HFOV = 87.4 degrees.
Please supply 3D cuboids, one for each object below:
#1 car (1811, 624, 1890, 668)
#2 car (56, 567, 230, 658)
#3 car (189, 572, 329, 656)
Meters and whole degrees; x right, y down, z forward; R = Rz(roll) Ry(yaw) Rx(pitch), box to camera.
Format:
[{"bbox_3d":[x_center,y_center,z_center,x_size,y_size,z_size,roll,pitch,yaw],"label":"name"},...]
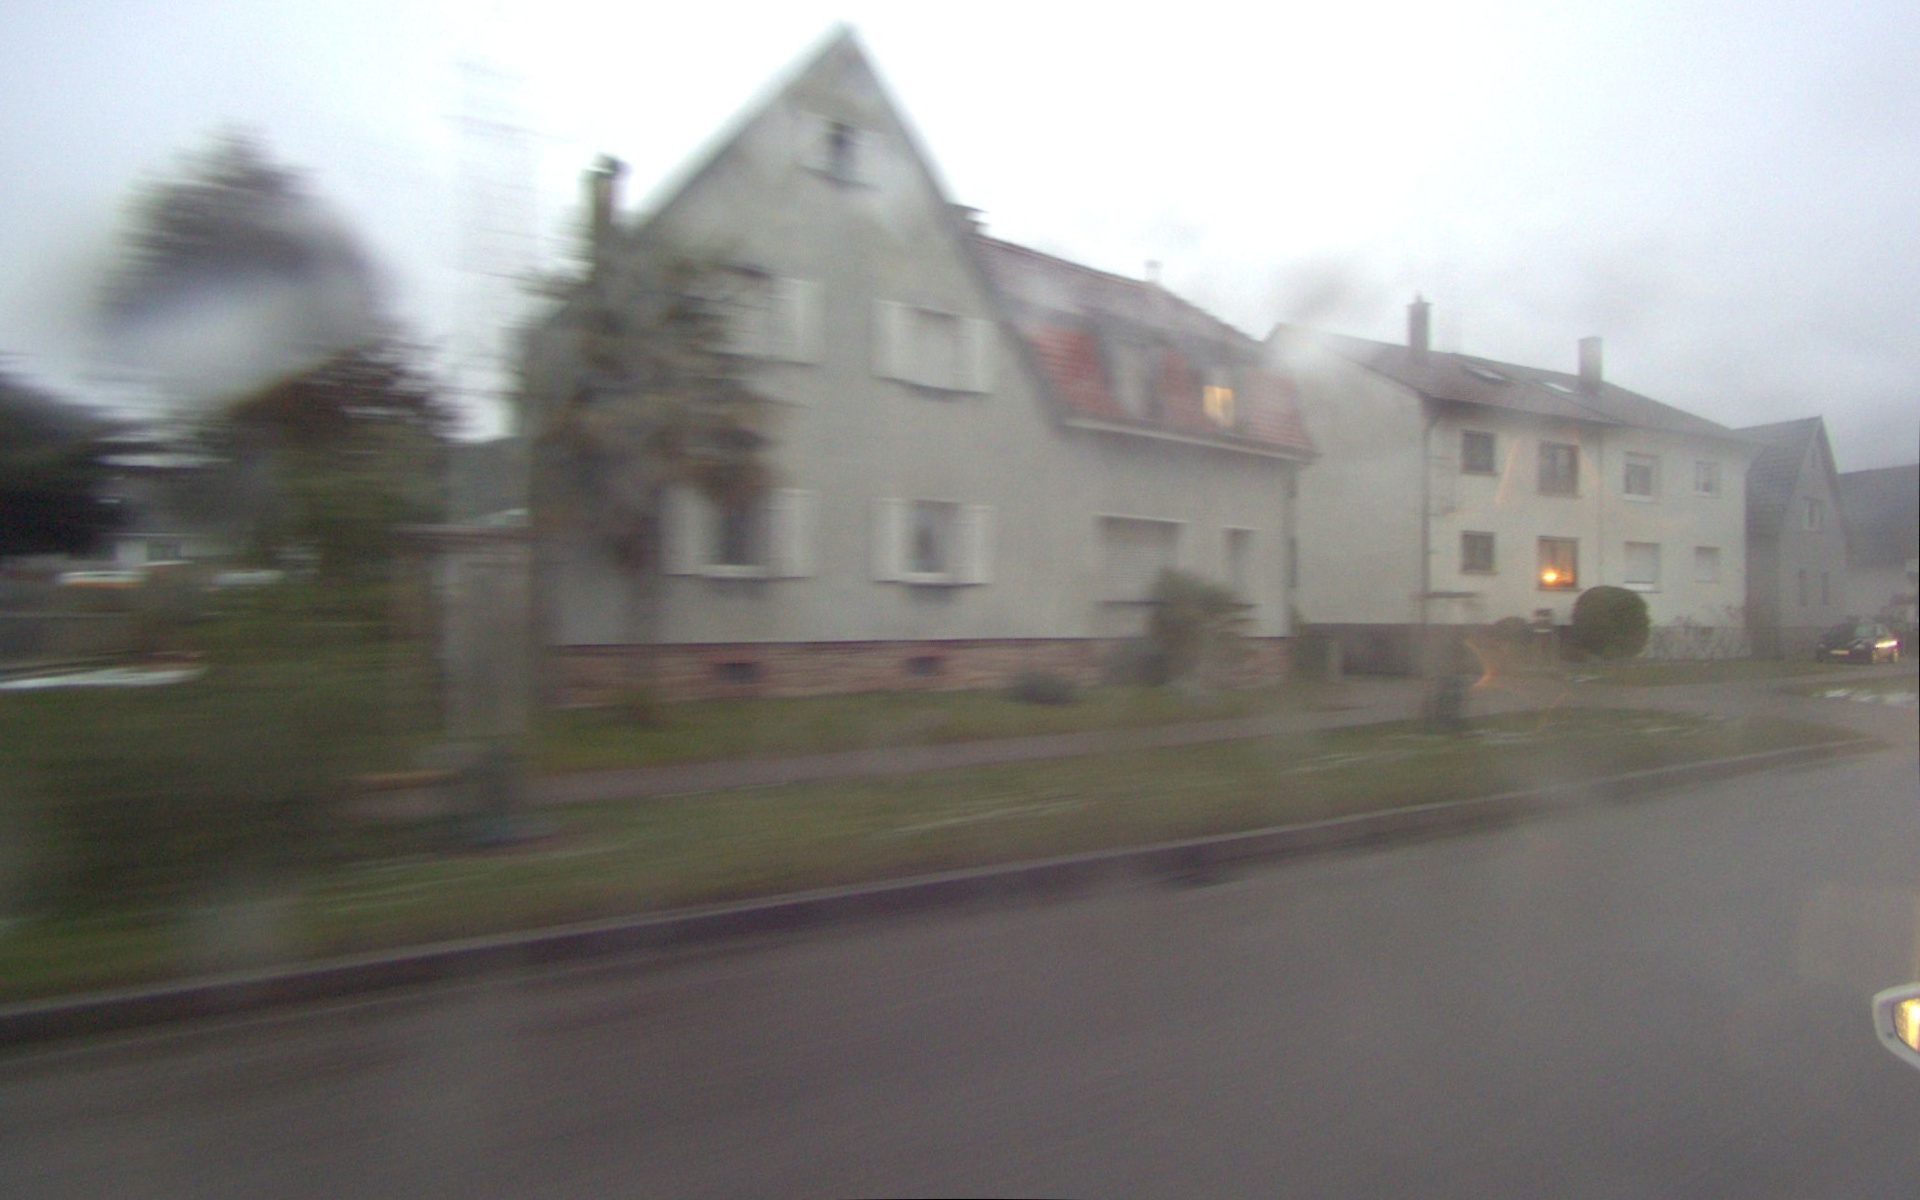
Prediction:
[{"bbox_3d":[32.101,1.624,36.168,3.972,1.411,1.760,2,0,-43],"label":"car"},{"bbox_3d":[-23.479,0.336,29.177,2.283,2.372,5.330,1,0,-20],"label":"car"},{"bbox_3d":[-21.625,0.415,31.278,2.283,2.372,5.330,1,0,-20],"label":"car"}]
